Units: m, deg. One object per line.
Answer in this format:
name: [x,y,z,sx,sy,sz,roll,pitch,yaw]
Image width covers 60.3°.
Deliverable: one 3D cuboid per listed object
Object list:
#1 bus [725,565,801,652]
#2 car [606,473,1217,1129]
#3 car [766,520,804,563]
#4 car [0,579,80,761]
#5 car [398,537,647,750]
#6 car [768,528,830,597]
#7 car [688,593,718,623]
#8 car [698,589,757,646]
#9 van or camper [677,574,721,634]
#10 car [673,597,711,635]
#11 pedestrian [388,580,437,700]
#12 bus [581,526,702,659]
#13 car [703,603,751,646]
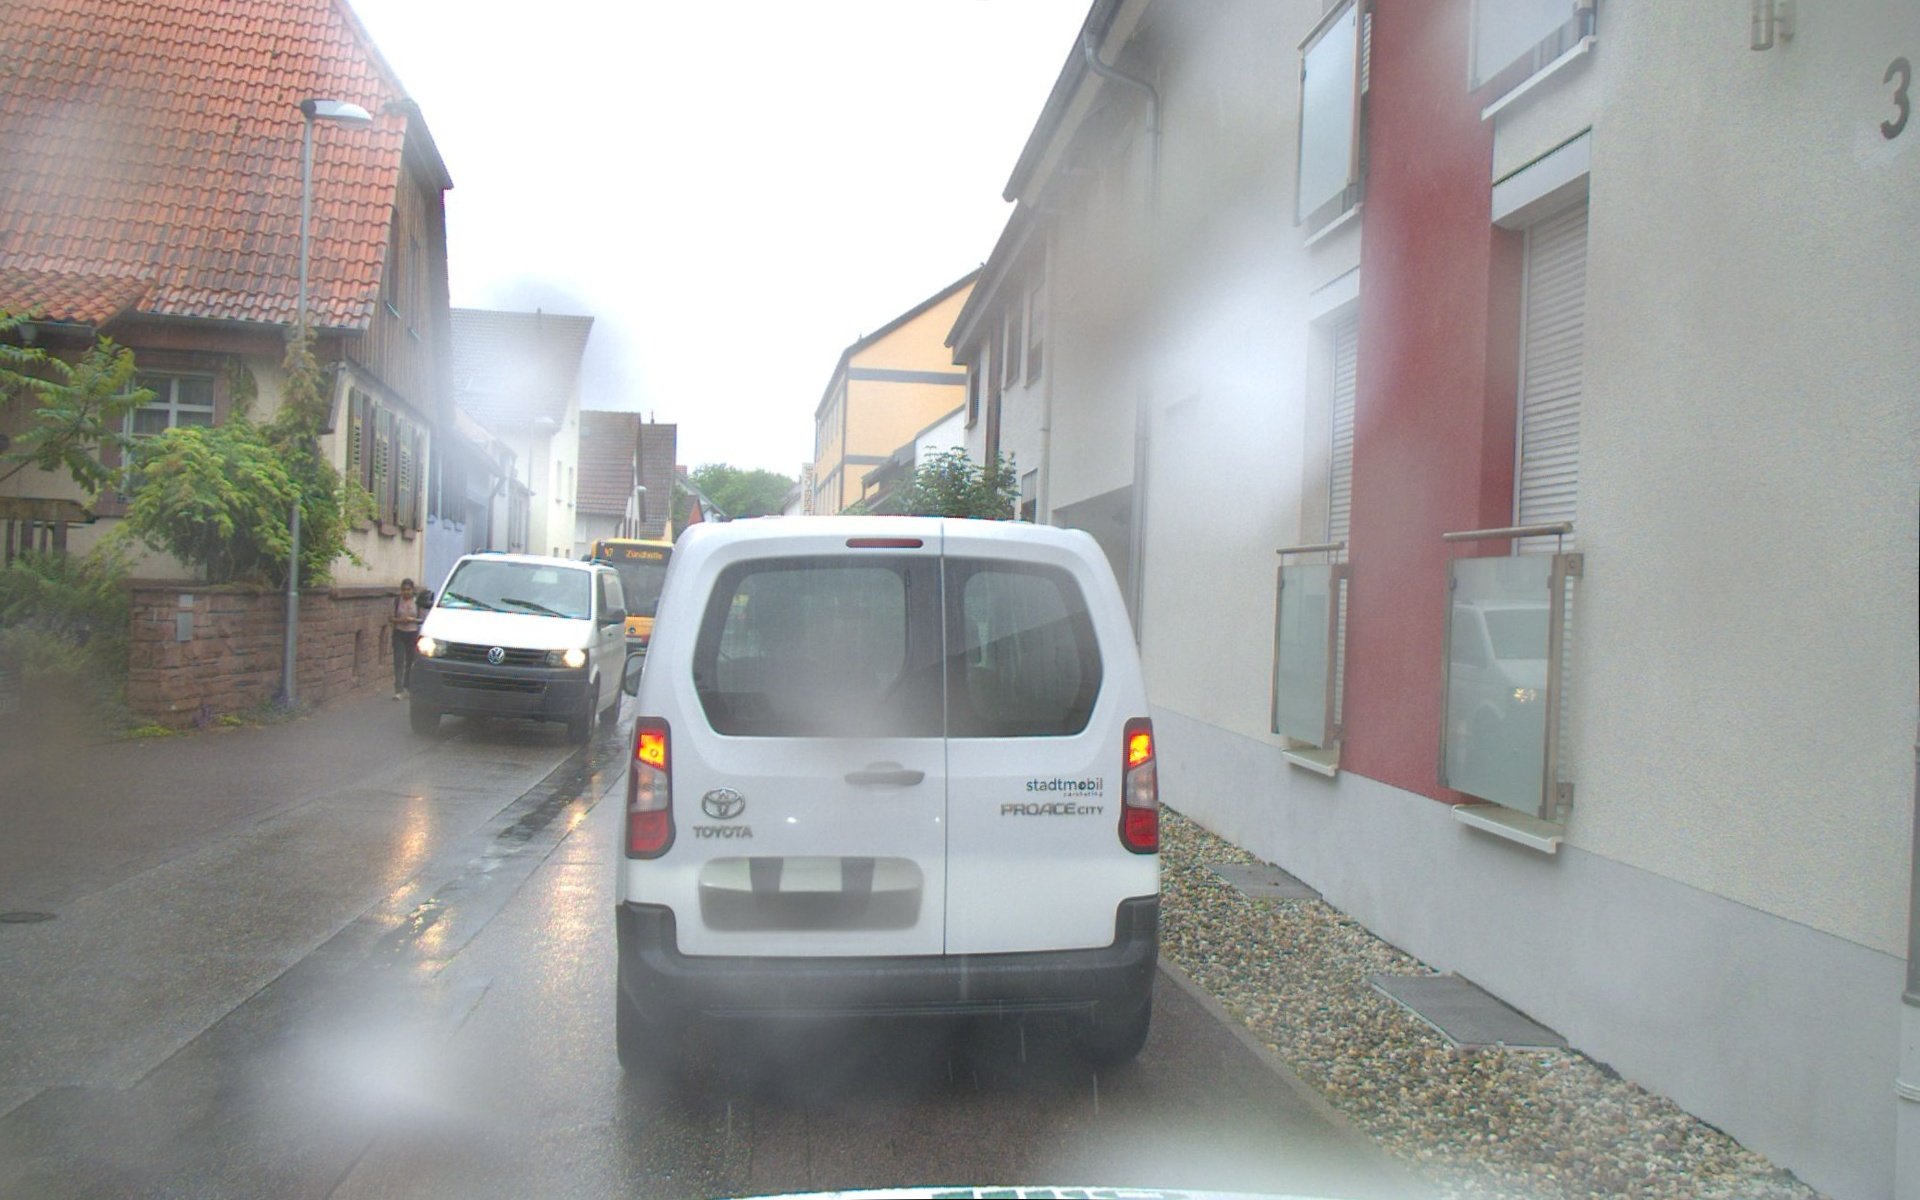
bus: [-8.237,0.376,68.847,2.741,3.235,8.164,4,-1,-7]
car: [-0.377,0.595,6.826,1.761,1.850,4.094,1,-1,-7]
car: [-9.824,-3.258,92.874,1.955,2.049,3.994,3,-1,-6]
car: [-9.189,0.473,13.141,3.459,1.400,1.593,2,0,-5]
car: [-4.780,0.465,18.770,1.856,2.001,4.717,3,-1,-5]
car: [-5.312,-1.186,54.187,1.793,2.049,3.687,3,-1,-7]
car: [-15.988,0.534,102.858,1.549,1.754,3.546,3,-1,-6]
car: [-6.726,0.509,48.141,1.532,1.506,3.579,3,-1,-7]
van or camper: [-13.683,0.230,86.846,1.800,2.976,5.356,3,-1,-6]
car: [-13.151,0.787,81.386,1.549,1.754,3.546,3,-1,-6]
pedestrian: [-7.208,0.519,21.793,0.558,1.557,0.566,1,-1,-17]
bus: [-9.043,-0.153,47.776,2.741,3.387,8.164,3,-1,-7]
car: [-8.307,0.883,59.255,1.532,1.395,3.579,4,-1,-7]
